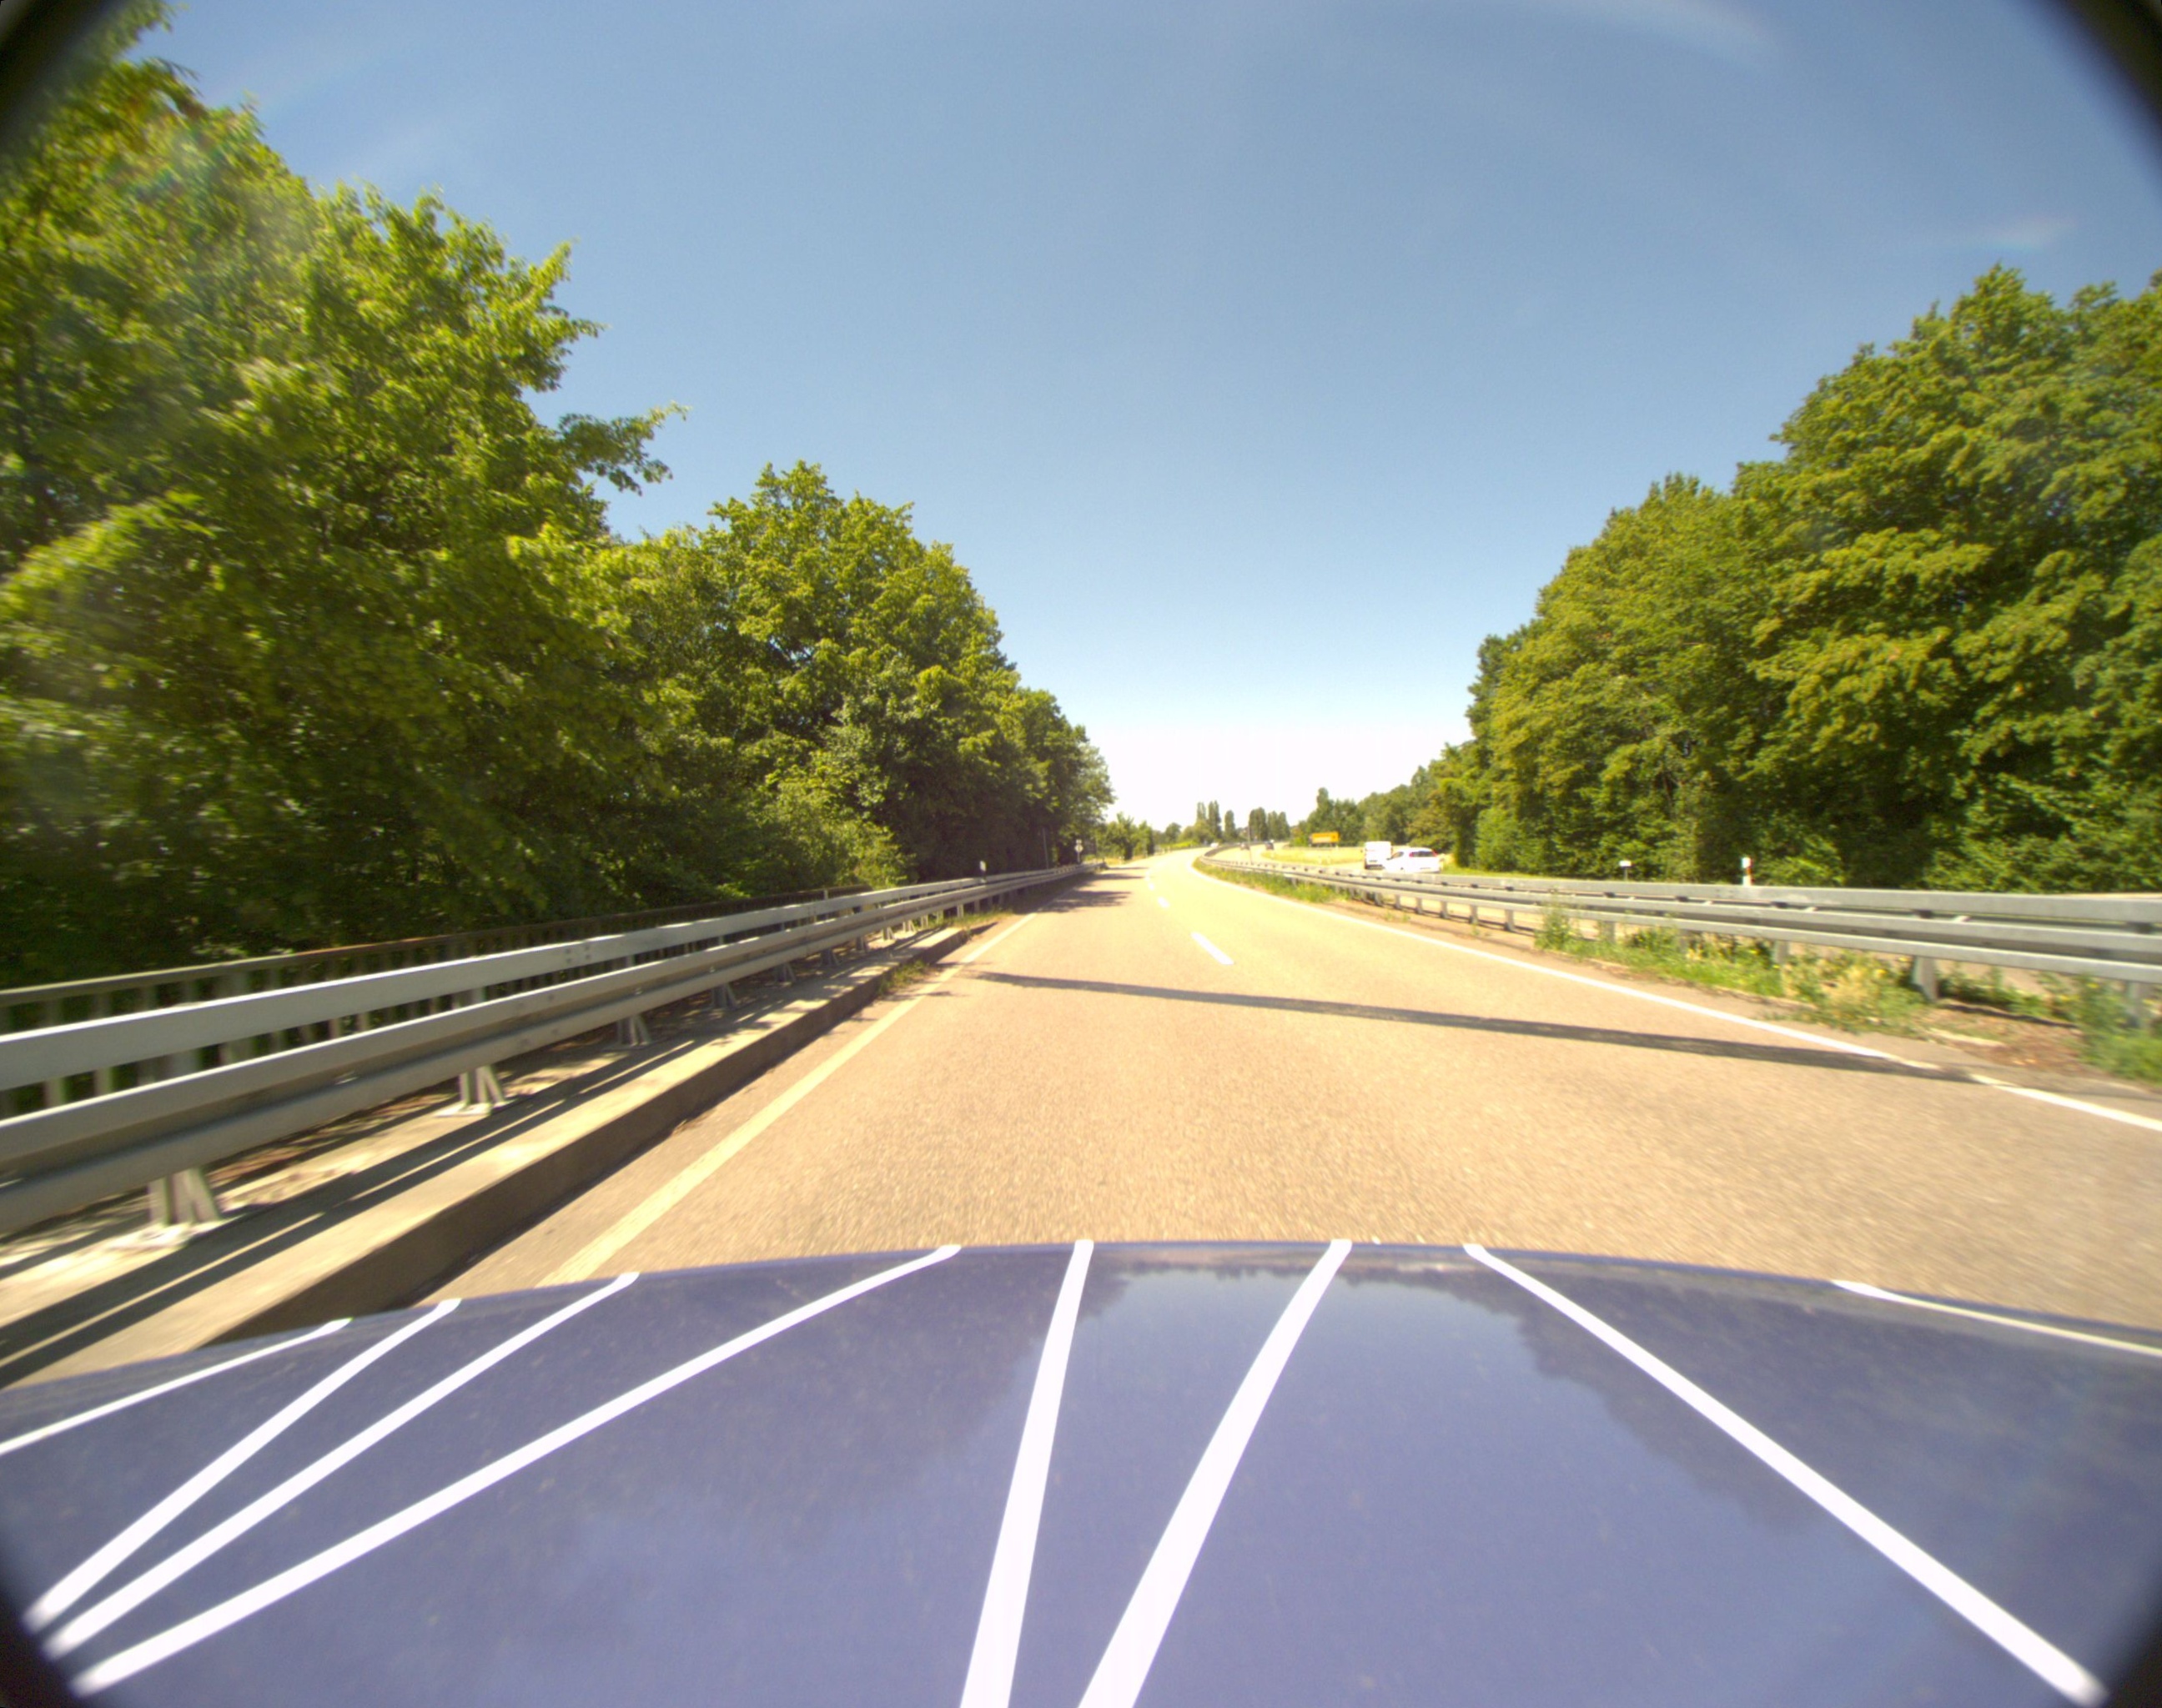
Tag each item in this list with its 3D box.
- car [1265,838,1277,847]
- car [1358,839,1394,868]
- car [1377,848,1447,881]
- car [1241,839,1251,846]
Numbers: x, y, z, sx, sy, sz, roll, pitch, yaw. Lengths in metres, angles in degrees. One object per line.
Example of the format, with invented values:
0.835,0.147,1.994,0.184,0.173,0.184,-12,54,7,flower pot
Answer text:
43.043,-2.611,172.215,1.997,2.002,4.002,-4,1,9,car
21.305,-0.063,55.118,1.992,1.940,5.646,-1,0,17,car
15.810,0.467,36.506,1.655,1.439,4.220,-1,0,2,car
39.134,-2.721,179.967,1.826,1.608,4.546,-1,0,20,car
